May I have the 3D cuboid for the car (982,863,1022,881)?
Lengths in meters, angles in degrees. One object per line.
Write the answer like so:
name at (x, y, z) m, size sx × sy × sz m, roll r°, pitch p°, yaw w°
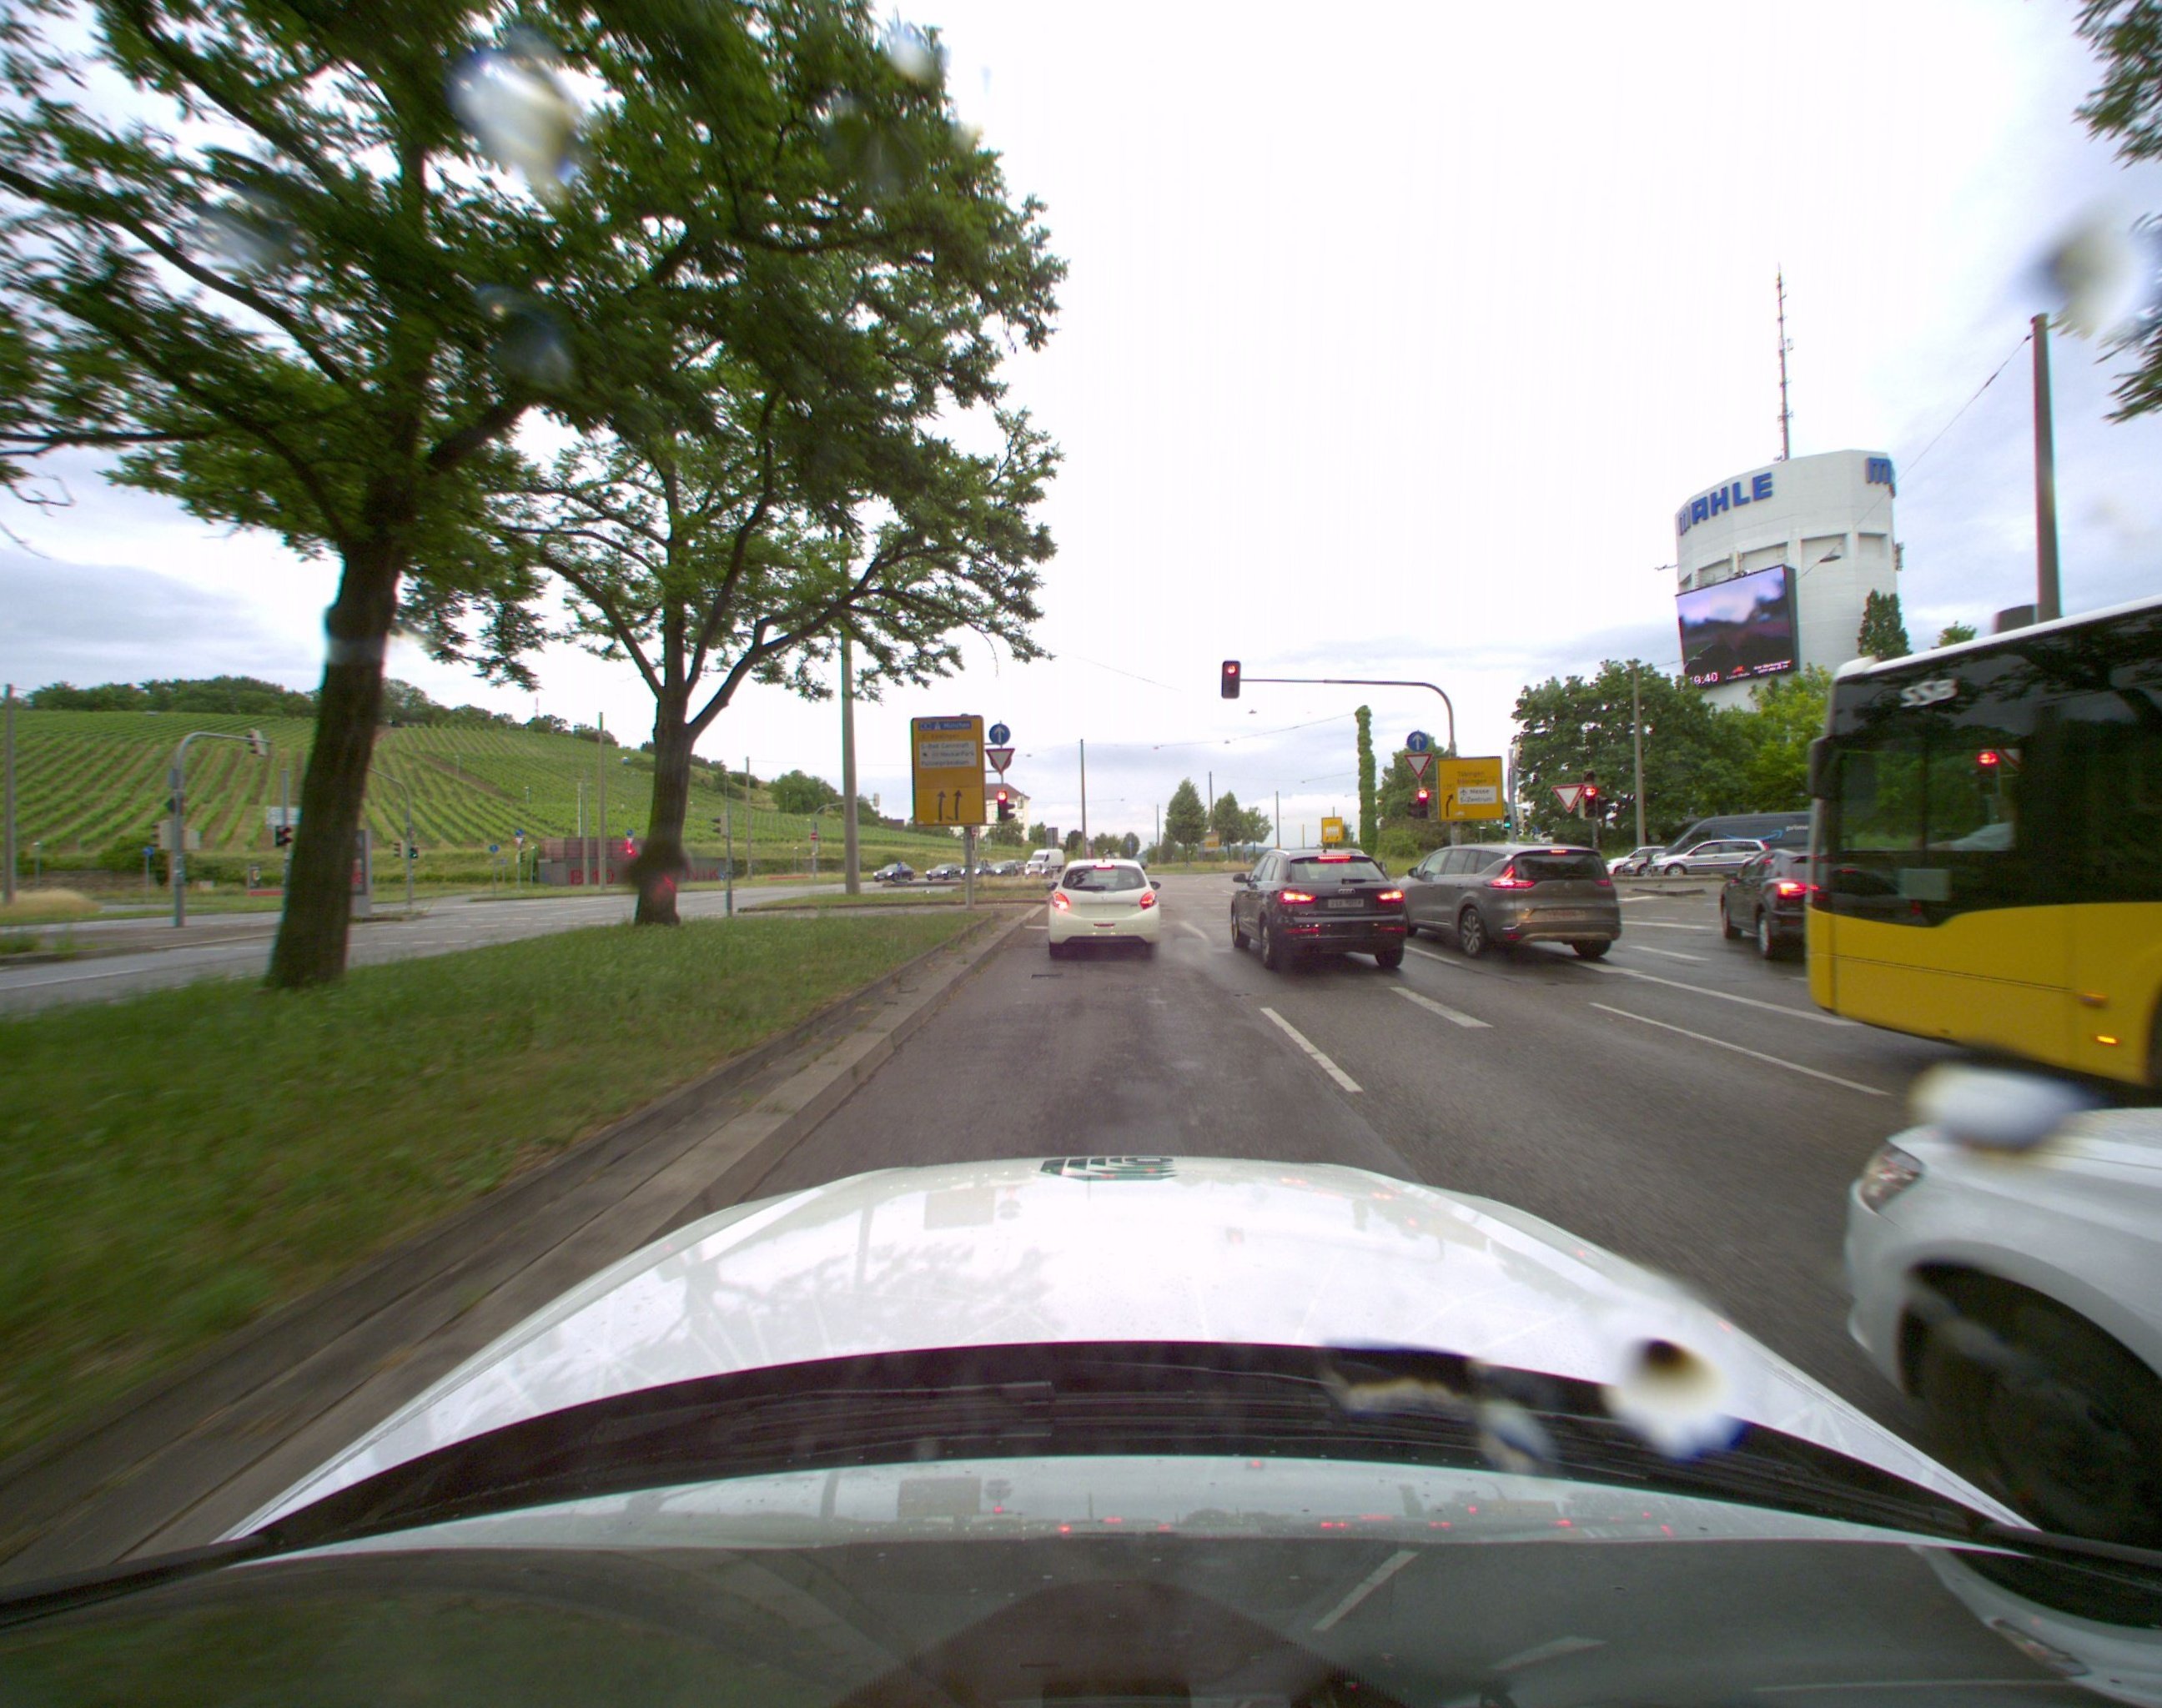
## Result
car at (-7.134, 1.615, 74.053) m, size 1.886 × 1.489 × 4.913 m, roll 0°, pitch -1°, yaw 17°

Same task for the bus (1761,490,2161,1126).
bus at (6.563, -0.200, 0.418) m, size 2.716 × 3.152 × 12.153 m, roll 0°, pitch 0°, yaw 2°

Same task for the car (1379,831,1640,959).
car at (6.492, 0.518, 13.031) m, size 1.858 × 1.674 × 4.566 m, roll -1°, pitch 0°, yaw 1°

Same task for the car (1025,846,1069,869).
car at (-3.749, 0.407, 91.641) m, size 1.975 × 2.559 × 6.207 m, roll 0°, pitch -1°, yaw 29°

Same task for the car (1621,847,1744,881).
car at (27.765, 0.488, 37.774) m, size 4.327 × 1.520 × 1.739 m, roll -1°, pitch -1°, yaw 25°

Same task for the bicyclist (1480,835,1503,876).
bicyclist at (16.410, 0.061, 32.533) m, size 0.801 × 1.584 × 1.029 m, roll 0°, pitch -1°, yaw 29°

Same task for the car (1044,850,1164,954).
car at (0.394, 0.711, 13.699) m, size 1.711 × 1.489 × 4.001 m, roll -1°, pitch -1°, yaw 2°

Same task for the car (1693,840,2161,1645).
car at (2.804, 0.690, 0.669) m, size 1.735 × 1.432 × 3.810 m, roll 1°, pitch -1°, yaw -1°

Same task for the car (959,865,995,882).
car at (-8.627, 1.658, 68.068) m, size 1.774 × 1.395 × 3.894 m, roll 0°, pitch -2°, yaw 12°

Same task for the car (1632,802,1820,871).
car at (27.203, -0.646, 34.673) m, size 5.953 × 2.741 × 2.094 m, roll -1°, pitch -2°, yaw 28°

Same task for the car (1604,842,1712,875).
car at (28.836, 0.230, 40.861) m, size 4.094 × 1.564 × 1.881 m, roll -1°, pitch -1°, yaw 23°

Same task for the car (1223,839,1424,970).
car at (3.347, 0.643, 12.085) m, size 1.877 × 1.595 × 4.115 m, roll 1°, pitch -1°, yaw 2°

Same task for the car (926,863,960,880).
car at (-11.808, 1.525, 69.896) m, size 1.776 × 1.395 × 3.890 m, roll 0°, pitch -2°, yaw 8°

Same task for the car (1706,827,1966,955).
car at (10.599, 0.502, 11.825) m, size 1.847 × 1.498 × 4.177 m, roll -4°, pitch -2°, yaw 31°

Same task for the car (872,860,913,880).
car at (-15.780, 1.305, 68.485) m, size 1.819 × 1.624 × 4.576 m, roll 0°, pitch -1°, yaw 8°

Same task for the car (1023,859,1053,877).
car at (-3.598, 1.170, 68.662) m, size 1.766 × 1.425 × 4.382 m, roll -2°, pitch -1°, yaw 7°

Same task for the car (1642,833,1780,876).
car at (24.900, 0.064, 32.381) m, size 4.011 × 1.569 × 1.882 m, roll -1°, pitch -3°, yaw 25°
